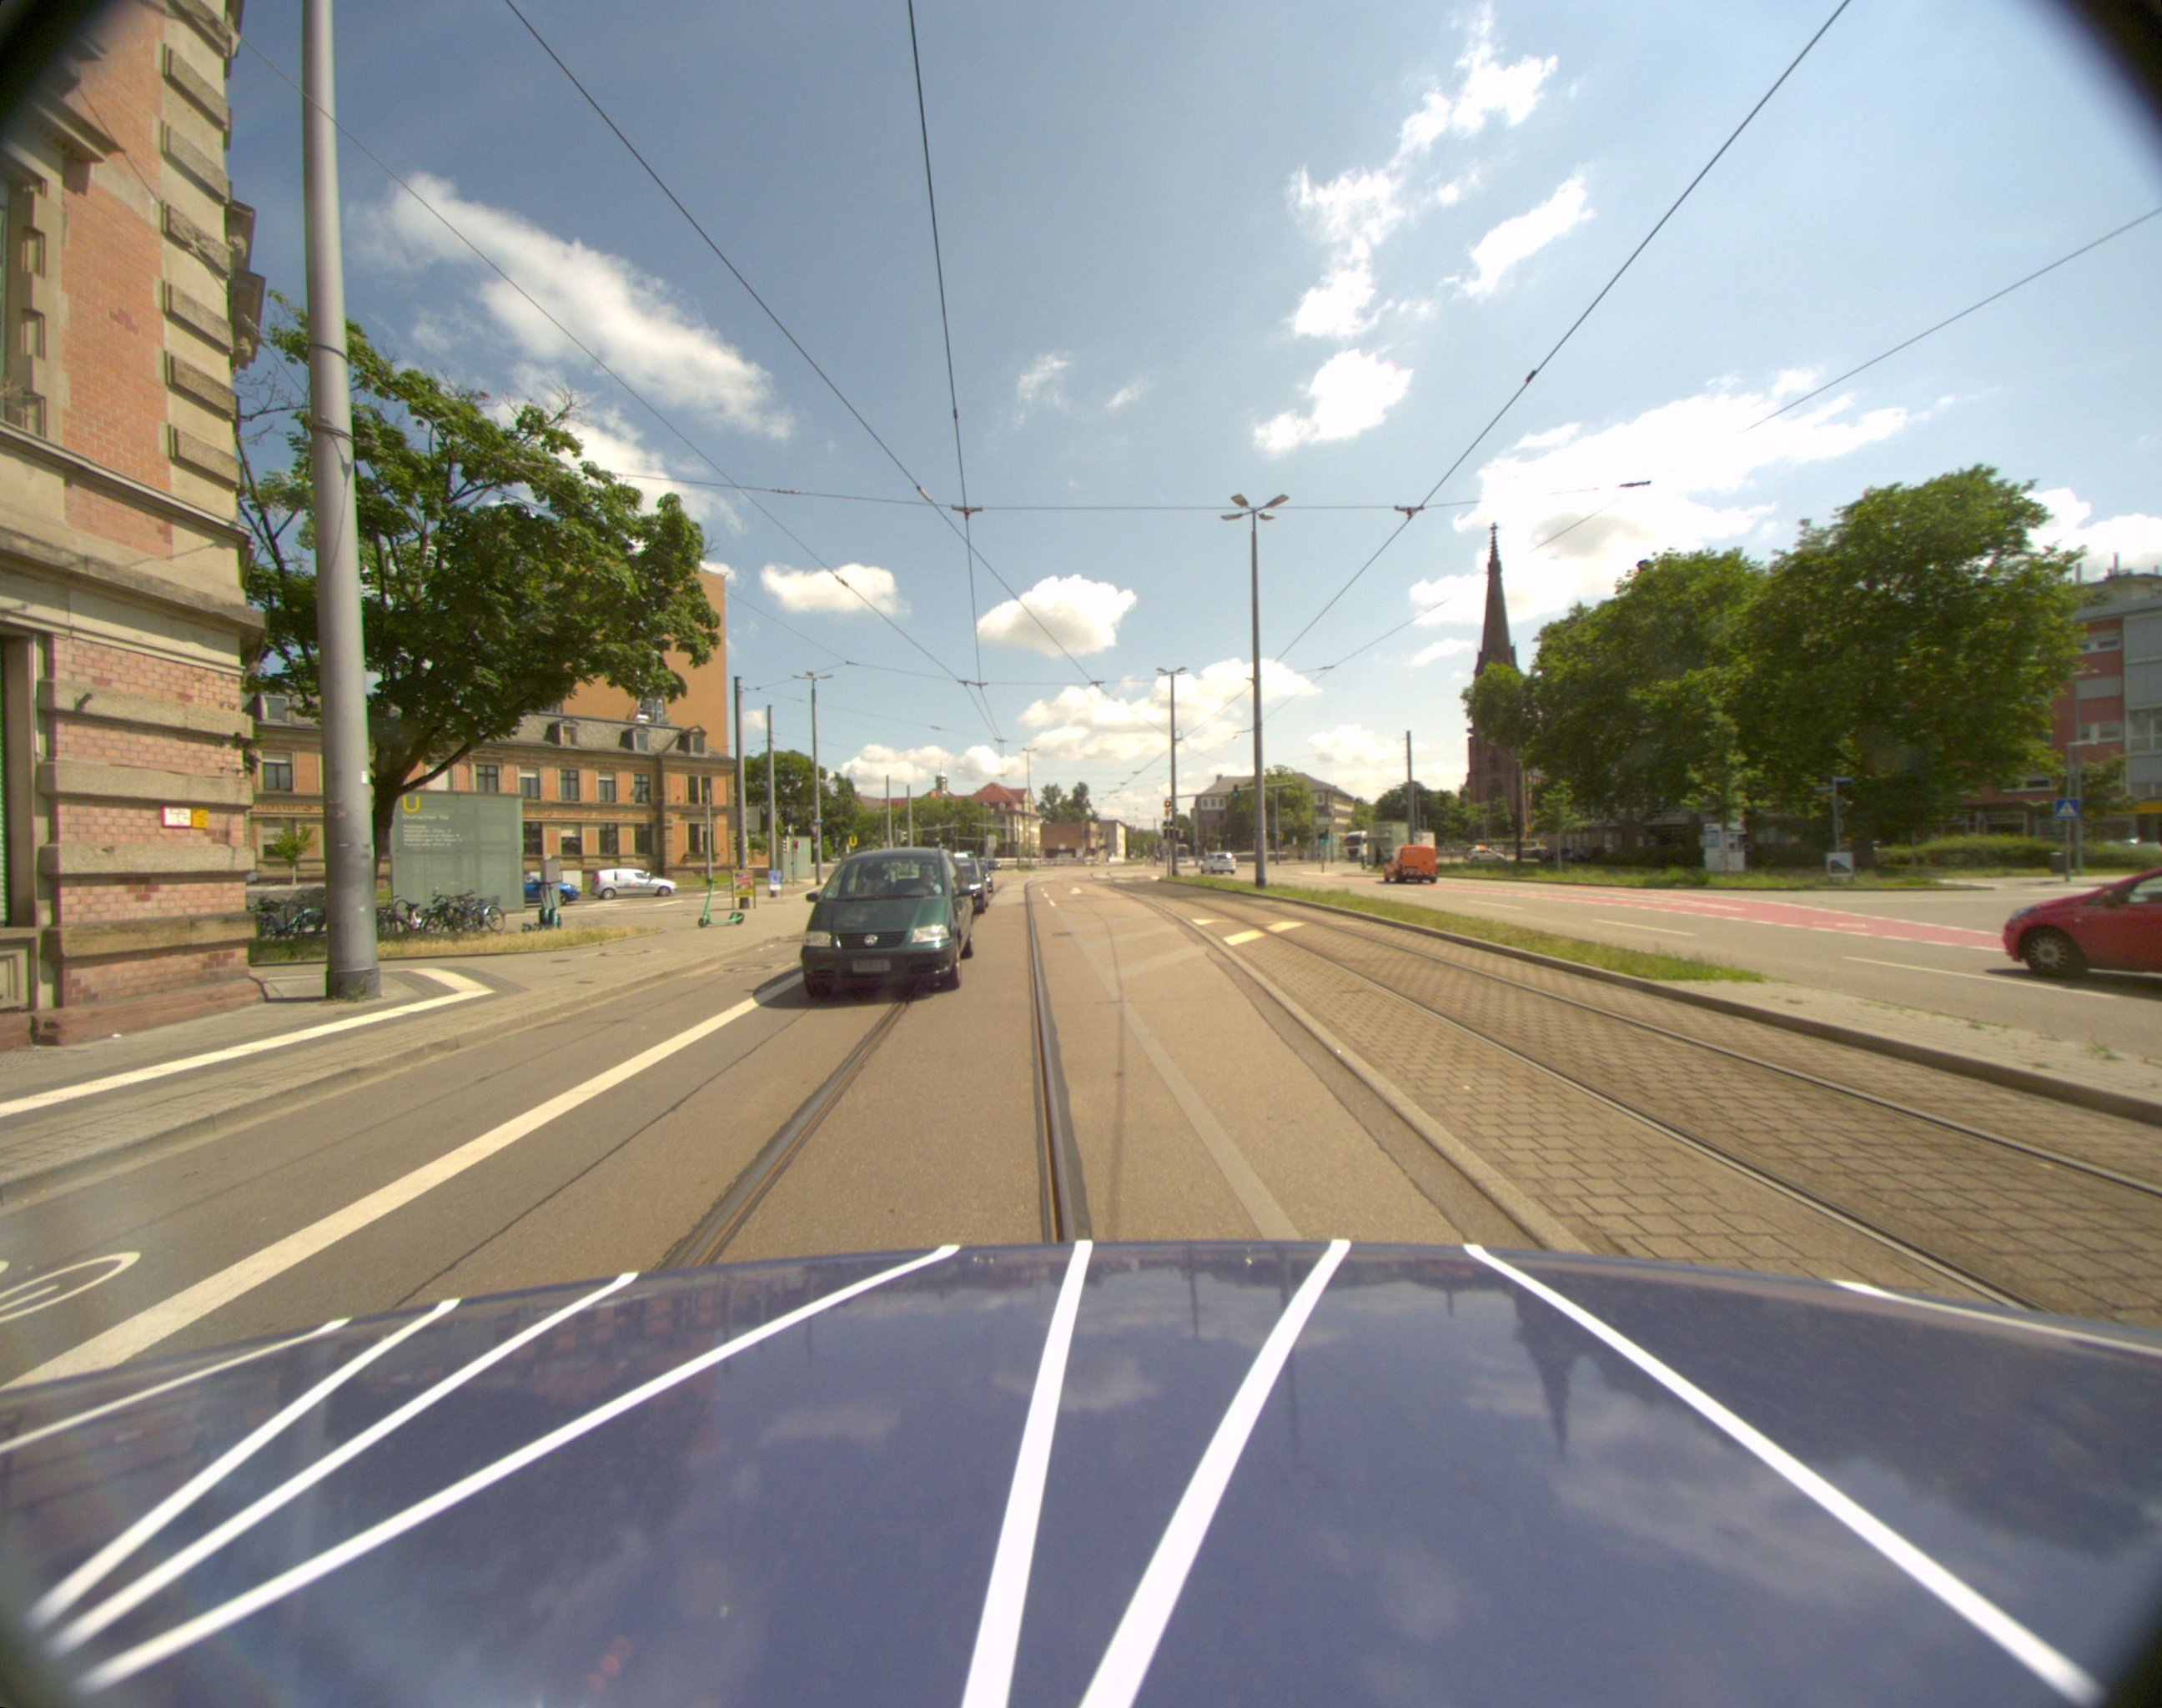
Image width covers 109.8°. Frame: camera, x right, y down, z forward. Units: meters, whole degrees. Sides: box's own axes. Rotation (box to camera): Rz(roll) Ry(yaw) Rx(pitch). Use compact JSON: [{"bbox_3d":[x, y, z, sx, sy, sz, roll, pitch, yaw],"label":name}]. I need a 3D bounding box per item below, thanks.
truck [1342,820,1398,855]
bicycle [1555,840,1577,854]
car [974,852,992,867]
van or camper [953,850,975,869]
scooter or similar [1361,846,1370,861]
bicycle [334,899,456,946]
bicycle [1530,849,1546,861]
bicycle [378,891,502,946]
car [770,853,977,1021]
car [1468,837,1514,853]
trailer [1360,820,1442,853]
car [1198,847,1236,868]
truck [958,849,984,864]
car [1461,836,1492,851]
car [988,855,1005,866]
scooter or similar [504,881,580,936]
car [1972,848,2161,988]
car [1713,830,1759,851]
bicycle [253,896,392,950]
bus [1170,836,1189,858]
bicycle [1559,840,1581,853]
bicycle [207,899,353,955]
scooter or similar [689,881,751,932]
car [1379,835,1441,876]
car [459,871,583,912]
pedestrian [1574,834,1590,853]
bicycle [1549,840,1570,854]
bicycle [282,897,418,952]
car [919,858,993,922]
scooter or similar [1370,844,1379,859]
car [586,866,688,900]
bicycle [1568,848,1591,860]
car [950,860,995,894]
[{"bbox_3d":[35.817,-2.067,94.091,6.890,4.095,2.956,-2,1,-34],"label":"truck"},{"bbox_3d":[45.123,-0.644,70.676,0.494,1.257,1.598,-2,0,-35],"label":"bicycle"},{"bbox_3d":[-14.127,0.789,109.229,1.817,2.002,3.994,-2,0,-17],"label":"car"},{"bbox_3d":[-16.737,0.788,108.434,2.234,2.719,5.514,-2,0,-16],"label":"van or camper"},{"bbox_3d":[22.218,-0.032,59.295,0.462,1.193,0.549,-2,0,-5],"label":"scooter or similar"},{"bbox_3d":[-16.109,1.590,17.944,0.844,0.874,2.287,0,0,-1],"label":"bicycle"},{"bbox_3d":[45.188,0.102,75.088,0.460,1.139,1.270,-2,0,-39],"label":"bicycle"},{"bbox_3d":[-15.108,1.491,18.026,1.027,1.075,2.263,0,1,-1],"label":"bicycle"},{"bbox_3d":[-2.463,0.871,10.066,1.820,1.707,4.083,-2,0,-4],"label":"car"},{"bbox_3d":[45.760,-1.017,84.828,4.165,1.633,1.631,-2,0,14],"label":"car"},{"bbox_3d":[41.474,-2.253,98.013,13.442,4.052,2.941,-1,1,-35],"label":"trailer"},{"bbox_3d":[10.691,0.291,59.871,1.772,1.594,4.490,0,0,-6],"label":"car"},{"bbox_3d":[-22.820,0.497,157.155,3.360,2.980,8.718,-2,0,-22],"label":"truck"},{"bbox_3d":[49.075,-1.305,94.180,4.249,1.755,1.766,-2,0,-37],"label":"car"},{"bbox_3d":[-11.400,0.909,102.085,1.673,1.368,3.911,-2,0,-15],"label":"car"},{"bbox_3d":[-12.838,1.280,18.161,0.951,1.196,1.389,-1,1,-11],"label":"scooter or similar"},{"bbox_3d":[11.872,0.657,7.596,1.705,1.420,3.904,0,0,9],"label":"car"},{"bbox_3d":[51.053,-1.063,59.216,3.938,1.501,1.875,-1,0,-37],"label":"car"},{"bbox_3d":[-18.245,1.629,18.396,0.794,1.047,2.573,0,0,-1],"label":"bicycle"},{"bbox_3d":[16.190,-1.166,125.479,2.948,3.427,7.952,-2,0,7],"label":"bus"},{"bbox_3d":[44.730,-0.664,69.574,0.494,1.161,1.598,-2,0,-35],"label":"bicycle"},{"bbox_3d":[-19.134,1.709,18.270,0.794,1.084,2.573,0,1,-1],"label":"bicycle"},{"bbox_3d":[-8.799,1.267,18.554,0.950,1.173,1.086,-1,1,2],"label":"scooter or similar"},{"bbox_3d":[15.803,0.056,36.714,1.914,1.855,4.371,0,0,12],"label":"car"},{"bbox_3d":[-25.847,1.687,35.147,4.435,1.542,1.868,-2,2,-41],"label":"car"},{"bbox_3d":[42.182,-0.895,63.967,0.725,1.551,0.878,-2,0,-27],"label":"pedestrian"},{"bbox_3d":[46.192,-0.690,73.394,0.494,1.257,1.598,-2,0,-35],"label":"bicycle"},{"bbox_3d":[-17.356,1.633,18.171,0.794,1.064,2.573,0,0,-1],"label":"bicycle"},{"bbox_3d":[-3.637,0.982,22.798,1.874,1.607,4.424,-4,1,-7],"label":"car"},{"bbox_3d":[22.987,-0.183,59.495,0.416,1.118,0.556,-2,0,-5],"label":"scooter or similar"},{"bbox_3d":[-23.970,1.535,41.132,4.435,1.578,1.869,-2,0,-42],"label":"car"},{"bbox_3d":[43.334,0.000,66.105,0.494,1.060,1.598,-2,0,-35],"label":"bicycle"},{"bbox_3d":[-5.247,1.052,36.457,1.874,1.477,4.422,-2,0,-11],"label":"car"}]
